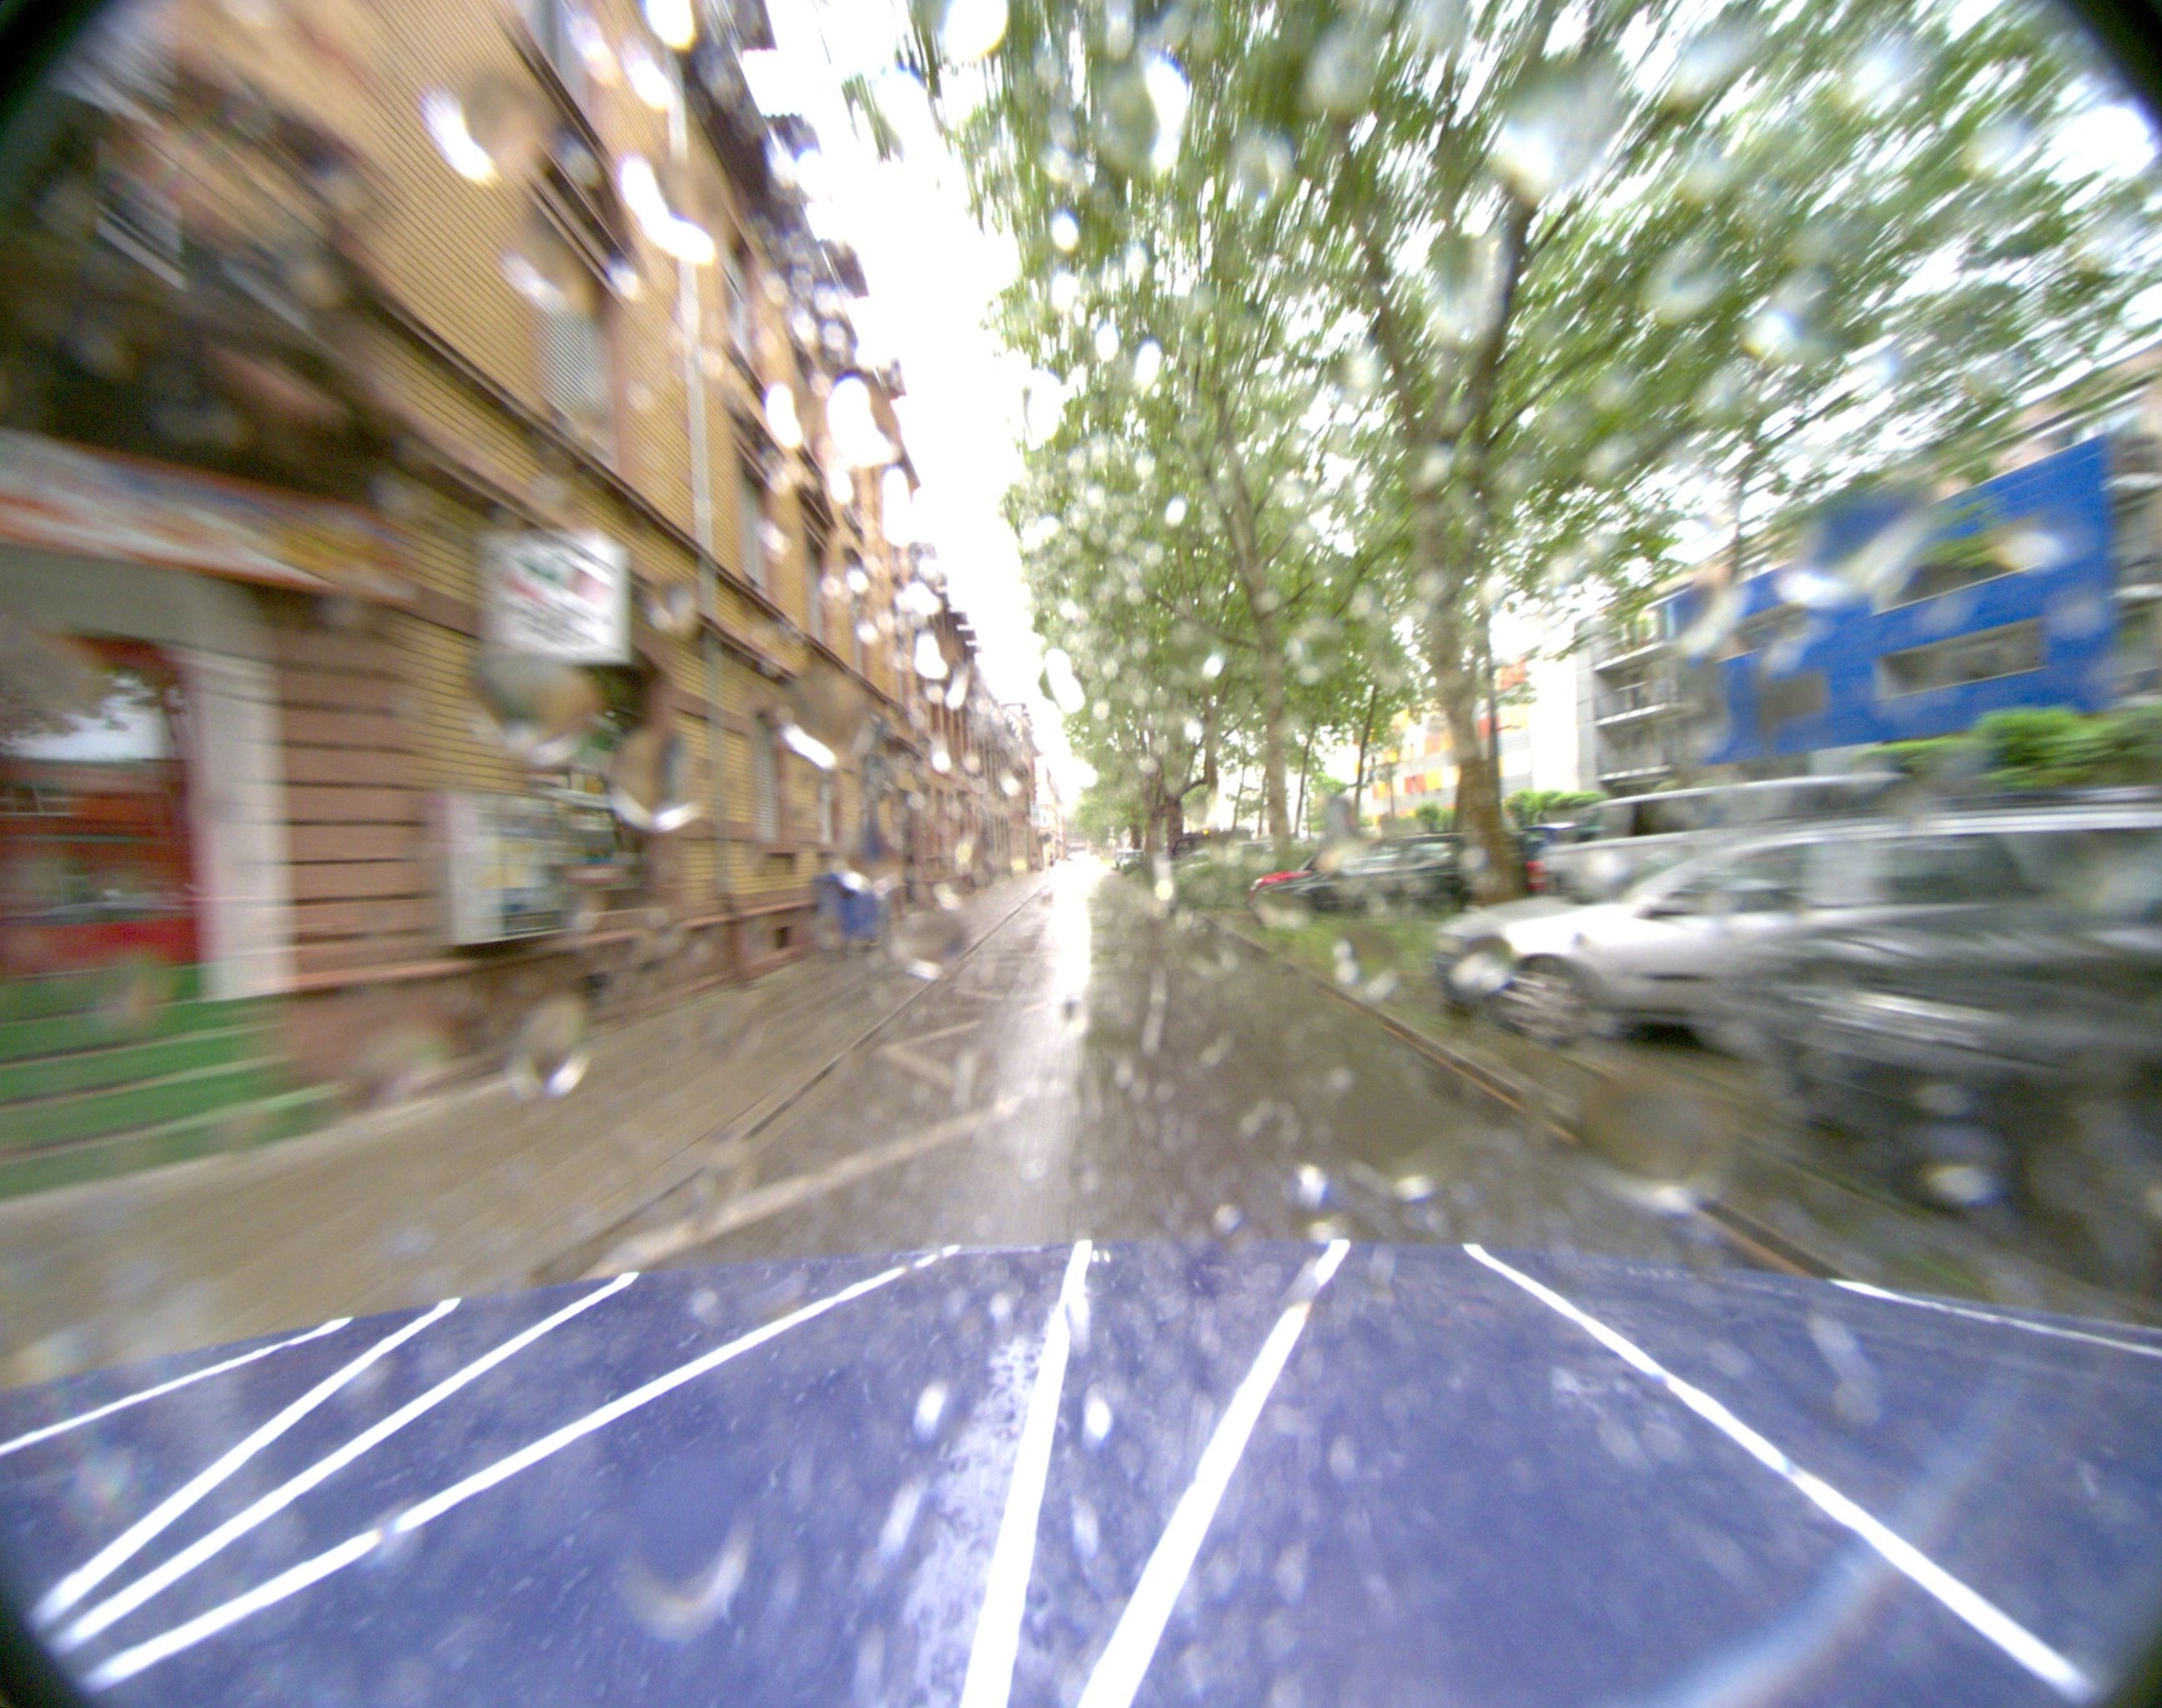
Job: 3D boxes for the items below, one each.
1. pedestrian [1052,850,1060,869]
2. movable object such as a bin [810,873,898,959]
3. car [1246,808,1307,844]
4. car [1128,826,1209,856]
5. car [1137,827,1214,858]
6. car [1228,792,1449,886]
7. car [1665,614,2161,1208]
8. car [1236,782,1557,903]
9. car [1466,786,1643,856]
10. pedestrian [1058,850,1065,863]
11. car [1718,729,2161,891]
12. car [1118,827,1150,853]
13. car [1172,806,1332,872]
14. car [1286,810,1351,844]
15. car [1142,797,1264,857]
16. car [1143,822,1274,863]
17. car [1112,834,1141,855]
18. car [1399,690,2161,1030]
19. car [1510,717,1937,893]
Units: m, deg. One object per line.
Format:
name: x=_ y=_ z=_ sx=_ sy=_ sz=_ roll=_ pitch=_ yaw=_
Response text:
pedestrian: x=-2.584 y=0.604 z=77.969 sx=0.787 sy=1.903 sz=0.929 roll=0 pitch=2 yaw=0
movable object such as a bin: x=-3.682 y=0.979 z=12.467 sx=1.024 sy=1.294 sz=1.366 roll=0 pitch=1 yaw=0
car: x=12.363 y=-1.724 z=48.442 sx=2.059 sy=1.986 sz=5.431 roll=-6 pitch=1 yaw=-3
car: x=4.849 y=-0.744 z=42.107 sx=4.037 sy=1.427 sz=1.784 roll=-2 pitch=2 yaw=25
car: x=4.939 y=-0.610 z=39.651 sx=3.494 sy=1.428 sz=1.784 roll=-2 pitch=2 yaw=28
car: x=4.919 y=-0.265 z=14.565 sx=3.645 sy=1.471 sz=1.746 roll=-4 pitch=1 yaw=31
car: x=4.684 y=0.074 z=2.262 sx=4.407 sy=1.651 sz=1.933 roll=-2 pitch=2 yaw=29
car: x=4.755 y=-0.125 z=11.736 sx=4.220 sy=1.471 sz=1.746 roll=-4 pitch=1 yaw=28
car: x=12.200 y=-0.819 z=19.962 sx=1.909 sy=1.525 sz=4.214 roll=-4 pitch=1 yaw=-1
pedestrian: x=-2.420 y=0.255 z=93.903 sx=0.849 sy=1.565 sz=0.576 roll=1 pitch=2 yaw=1
car: x=11.828 y=-0.557 z=10.686 sx=1.909 sy=1.730 sz=4.420 roll=-4 pitch=1 yaw=-1
car: x=3.432 y=-0.914 z=49.861 sx=1.733 sy=1.506 sz=4.206 roll=-5 pitch=1 yaw=0
car: x=4.886 y=-0.421 z=21.704 sx=4.056 sy=1.528 sz=1.838 roll=-4 pitch=1 yaw=26
car: x=12.238 y=-1.368 z=39.452 sx=1.909 sy=1.525 sz=4.214 roll=-4 pitch=1 yaw=-1
car: x=5.238 y=-1.138 z=32.733 sx=4.648 sy=2.270 sz=2.015 roll=-2 pitch=2 yaw=30
car: x=4.977 y=-0.448 z=29.756 sx=4.648 sy=1.318 sz=1.850 roll=-2 pitch=2 yaw=28
car: x=3.471 y=-0.763 z=59.176 sx=1.901 sy=1.476 sz=4.620 roll=-5 pitch=1 yaw=0
car: x=4.653 y=0.002 z=5.082 sx=4.406 sy=1.636 sz=1.875 roll=-1 pitch=3 yaw=32
car: x=9.256 y=-0.639 z=11.777 sx=2.043 sy=1.988 sz=5.157 roll=-4 pitch=1 yaw=-2
